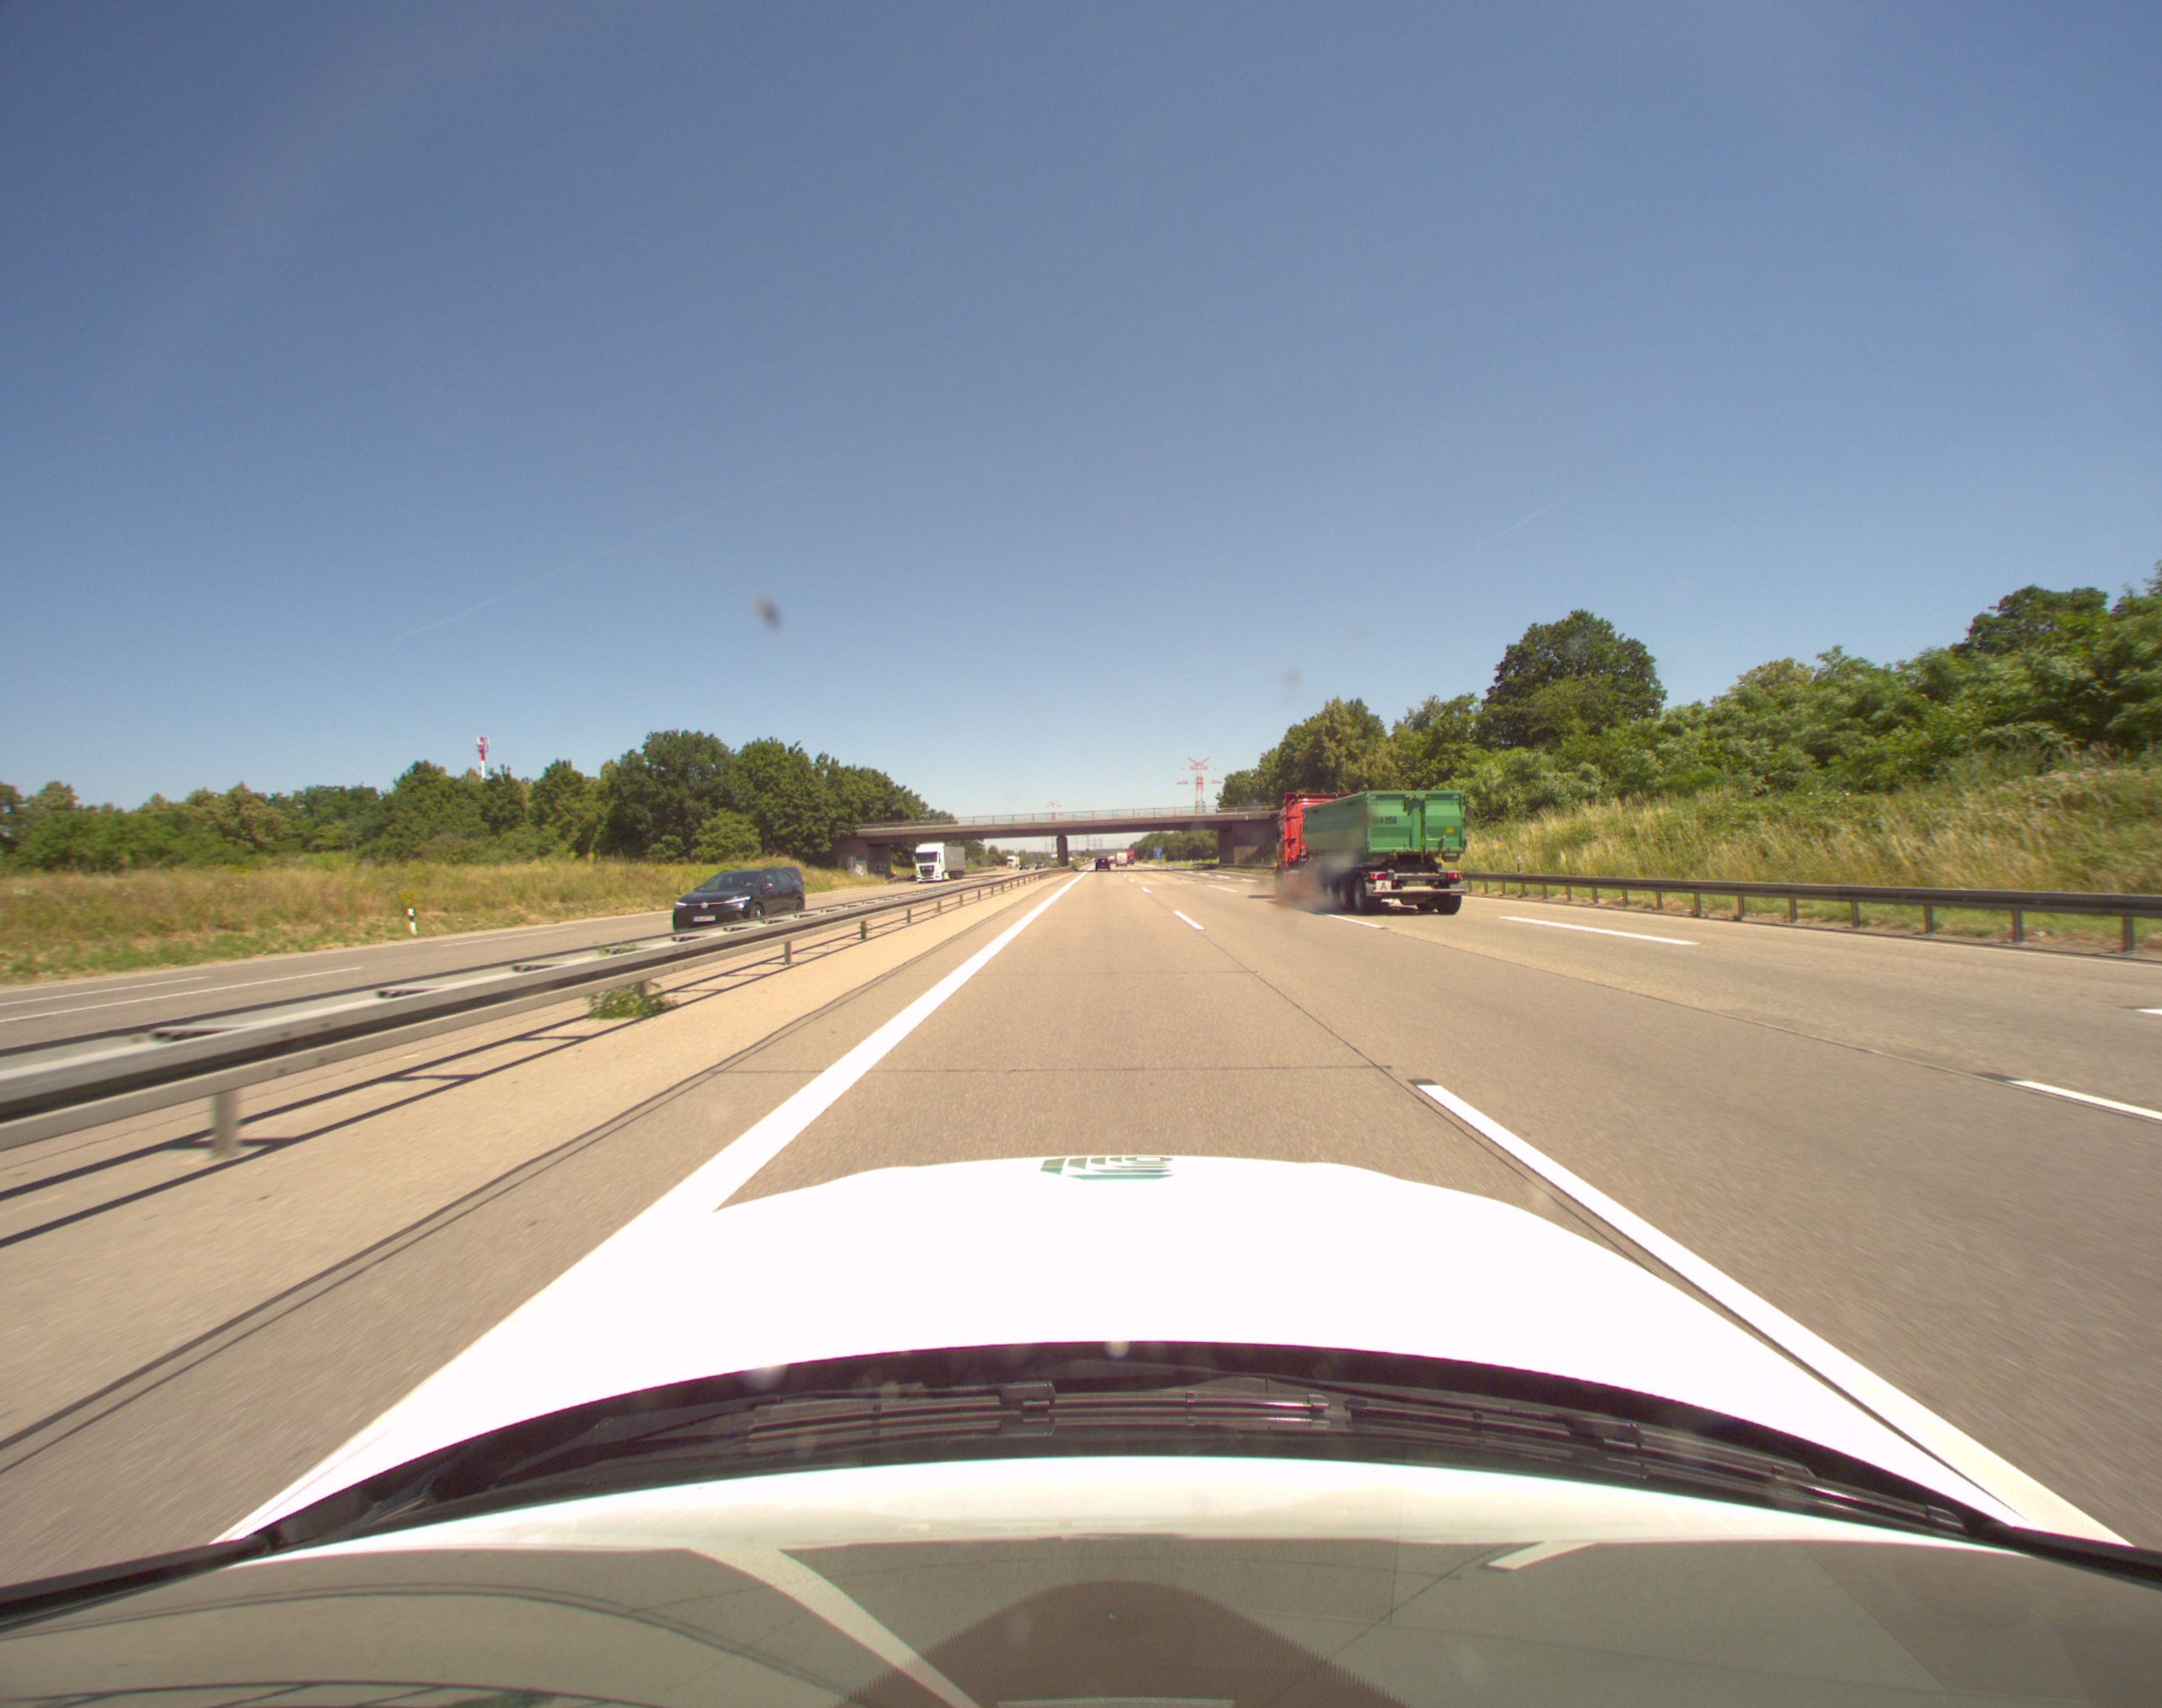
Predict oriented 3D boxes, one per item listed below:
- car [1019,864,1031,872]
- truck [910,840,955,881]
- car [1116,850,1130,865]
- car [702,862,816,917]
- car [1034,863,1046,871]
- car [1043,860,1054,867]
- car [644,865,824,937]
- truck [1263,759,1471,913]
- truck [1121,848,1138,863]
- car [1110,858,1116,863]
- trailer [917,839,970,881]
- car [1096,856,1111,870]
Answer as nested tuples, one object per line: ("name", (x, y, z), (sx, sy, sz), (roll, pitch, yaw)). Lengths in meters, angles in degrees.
("car", (-12.598, 3.092, 184.047), (2.220, 1.610, 5.061), (-4, 0, 1))
("truck", (-15.415, 0.654, 84.891), (2.938, 3.960, 6.954), (-4, 0, 1))
("car", (8.123, 0.673, 158.400), (2.611, 2.759, 6.098), (0, 0, 2))
("car", (-12.652, 1.327, 32.460), (2.220, 1.812, 5.300), (-4, 0, 1))
("car", (-8.712, 2.712, 173.569), (2.220, 1.610, 5.061), (-4, 0, 1))
("car", (-7.983, 2.255, 200.645), (2.220, 1.610, 5.061), (-4, 0, 1))
("car", (-8.741, 1.103, 21.173), (2.220, 1.424, 5.300), (-4, 0, 1))
("truck", (8.487, -0.431, 26.442), (2.671, 3.798, 12.482), (0, 0, 2))
("truck", (13.449, 0.460, 228.832), (4.315, 3.941, 16.085), (0, 0, 2))
("car", (9.718, 1.949, 247.988), (1.741, 1.634, 4.005), (0, 0, 2))
("trailer", (-15.259, 0.636, 91.926), (2.938, 4.108, 14.106), (-4, 0, 1))
("car", (3.027, 1.211, 108.338), (1.986, 1.750, 4.001), (0, 0, 1))
